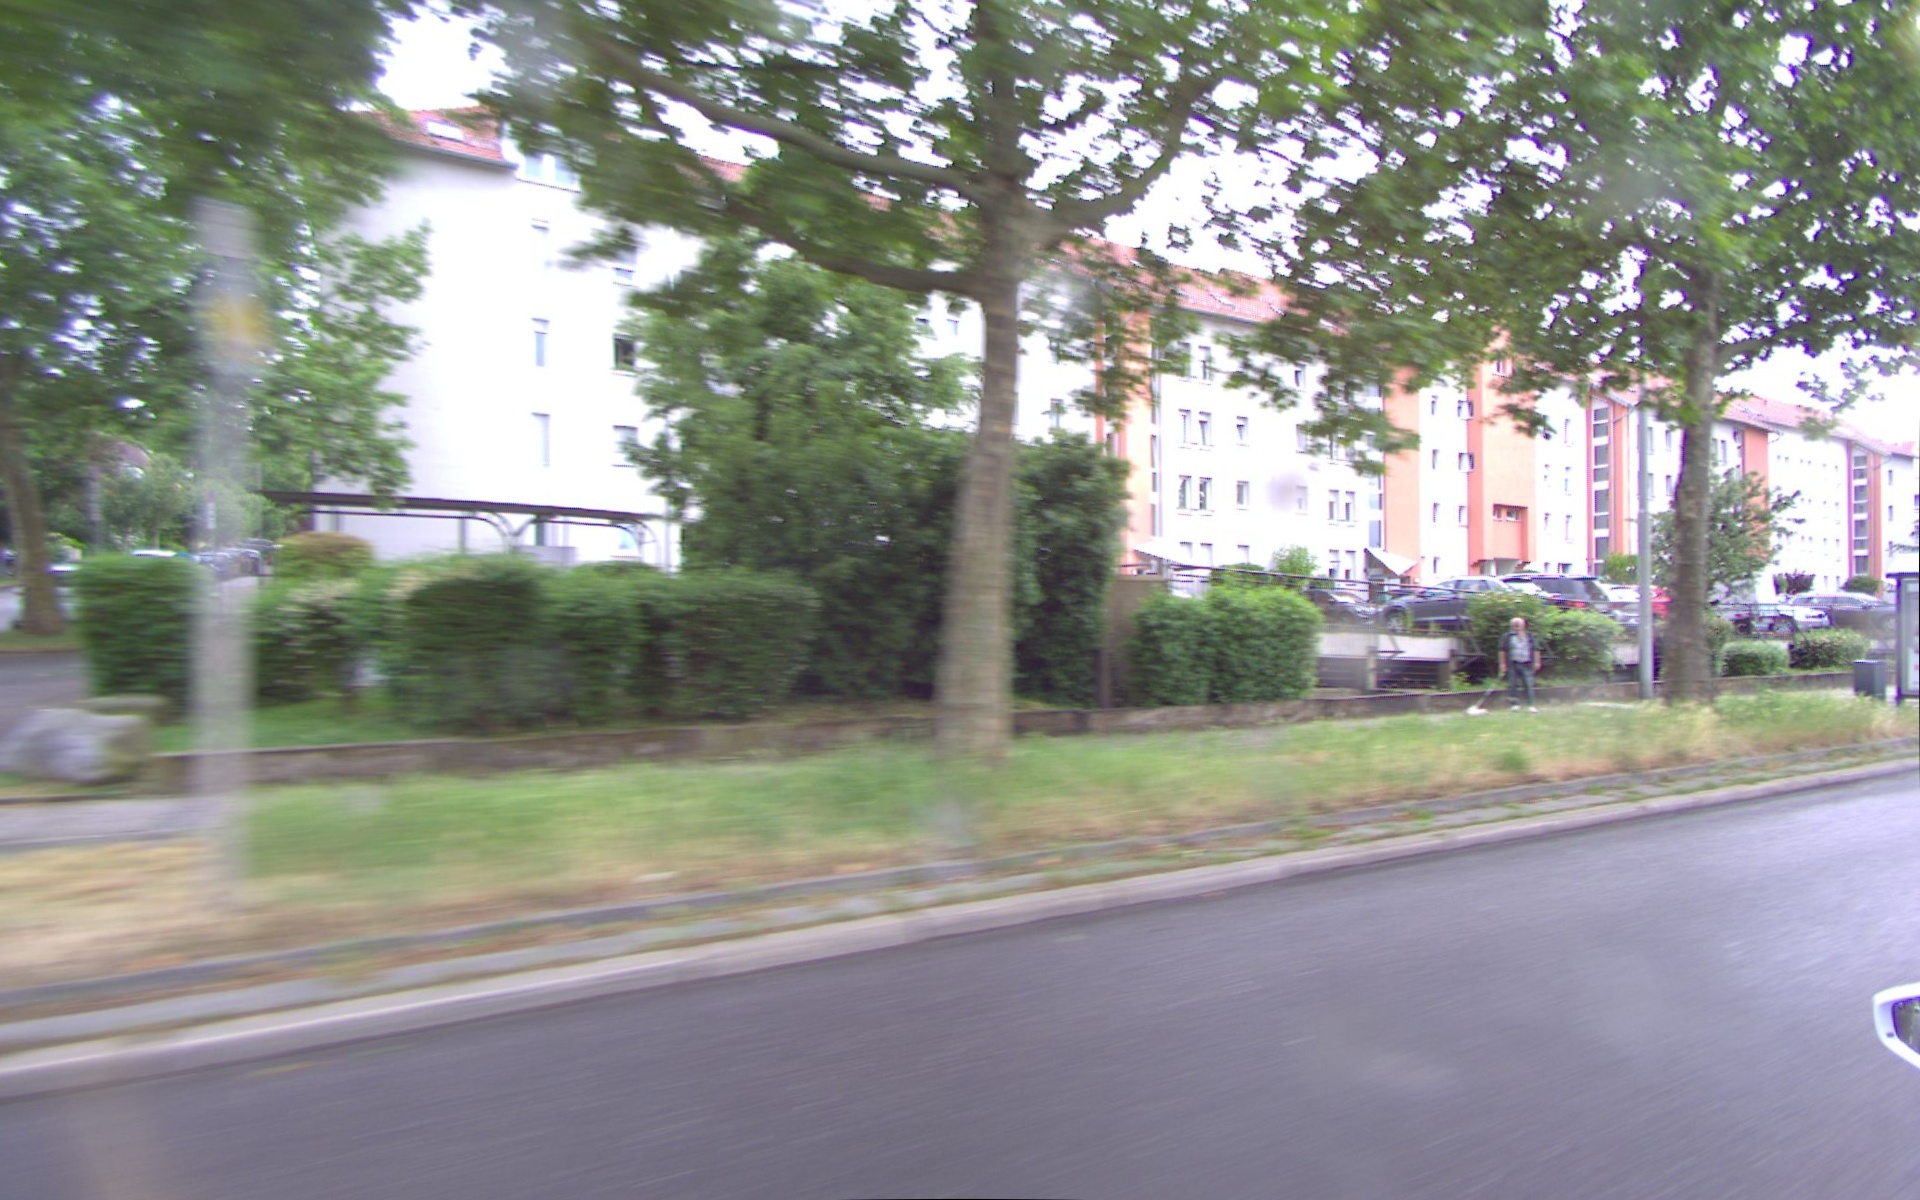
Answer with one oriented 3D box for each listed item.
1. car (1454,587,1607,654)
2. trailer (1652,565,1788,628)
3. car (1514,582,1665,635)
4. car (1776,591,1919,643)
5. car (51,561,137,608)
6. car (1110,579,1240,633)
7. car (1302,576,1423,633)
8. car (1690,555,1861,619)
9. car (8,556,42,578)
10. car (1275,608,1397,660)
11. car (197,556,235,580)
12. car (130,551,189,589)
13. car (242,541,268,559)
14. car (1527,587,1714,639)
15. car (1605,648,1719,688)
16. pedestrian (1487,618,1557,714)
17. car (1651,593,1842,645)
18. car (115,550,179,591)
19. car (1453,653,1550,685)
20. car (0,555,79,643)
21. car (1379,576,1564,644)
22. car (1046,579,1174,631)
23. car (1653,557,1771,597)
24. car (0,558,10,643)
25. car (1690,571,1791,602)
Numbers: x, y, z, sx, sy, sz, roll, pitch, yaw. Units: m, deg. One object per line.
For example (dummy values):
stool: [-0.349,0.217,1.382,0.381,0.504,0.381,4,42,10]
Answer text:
car: [14.567,0.495,25.788,1.420,1.563,3.116,3,0,-29]
trailer: [21.367,-0.091,28.313,1.462,1.667,2.693,2,0,-29]
car: [16.803,0.206,26.942,1.420,1.287,3.116,3,0,-29]
car: [32.657,0.601,36.301,1.977,1.694,4.523,3,0,-30]
car: [-28.877,-0.520,33.584,1.551,1.424,2.951,3,0,-29]
car: [6.784,0.179,32.034,1.974,1.550,3.972,3,0,-27]
car: [15.342,0.190,38.480,1.974,2.040,3.972,1,0,-27]
car: [23.626,-0.353,29.213,1.685,1.719,3.493,1,0,-29]
car: [-50.101,-1.770,53.840,1.043,1.077,2.096,3,0,-35]
car: [13.635,1.193,36.616,1.974,1.773,3.877,1,0,-27]
car: [-38.603,-1.637,52.139,1.226,1.137,2.487,3,0,-29]
car: [-33.789,-1.252,42.455,1.367,1.494,3.133,3,0,-29]
car: [-50.836,-3.581,72.477,1.226,1.206,2.487,3,0,-29]
car: [18.648,0.330,28.537,1.788,1.320,4.070,3,0,-29]
car: [31.122,2.985,44.650,1.699,1.531,3.790,3,-1,-31]
pedestrian: [10.038,1.163,17.945,0.826,1.632,0.750,3,0,-34]
car: [24.567,0.553,31.554,1.838,1.443,4.335,3,0,-29]
car: [-31.119,-1.133,38.507,1.375,1.424,2.951,3,0,-29]
car: [21.732,2.755,40.406,1.361,1.097,3.183,1,0,-29]
car: [-22.707,-0.105,23.781,1.859,1.801,3.968,7,-1,-30]
car: [12.618,0.221,24.976,1.877,1.518,3.631,3,0,-33]
car: [4.514,0.131,30.789,1.881,1.415,3.972,2,0,-27]
car: [33.280,-0.992,44.531,1.699,1.623,3.790,3,0,-31]
car: [-20.485,0.023,19.594,1.858,1.802,3.968,3,1,-30]
car: [38.433,-0.690,49.535,1.526,1.412,3.579,3,0,-31]
